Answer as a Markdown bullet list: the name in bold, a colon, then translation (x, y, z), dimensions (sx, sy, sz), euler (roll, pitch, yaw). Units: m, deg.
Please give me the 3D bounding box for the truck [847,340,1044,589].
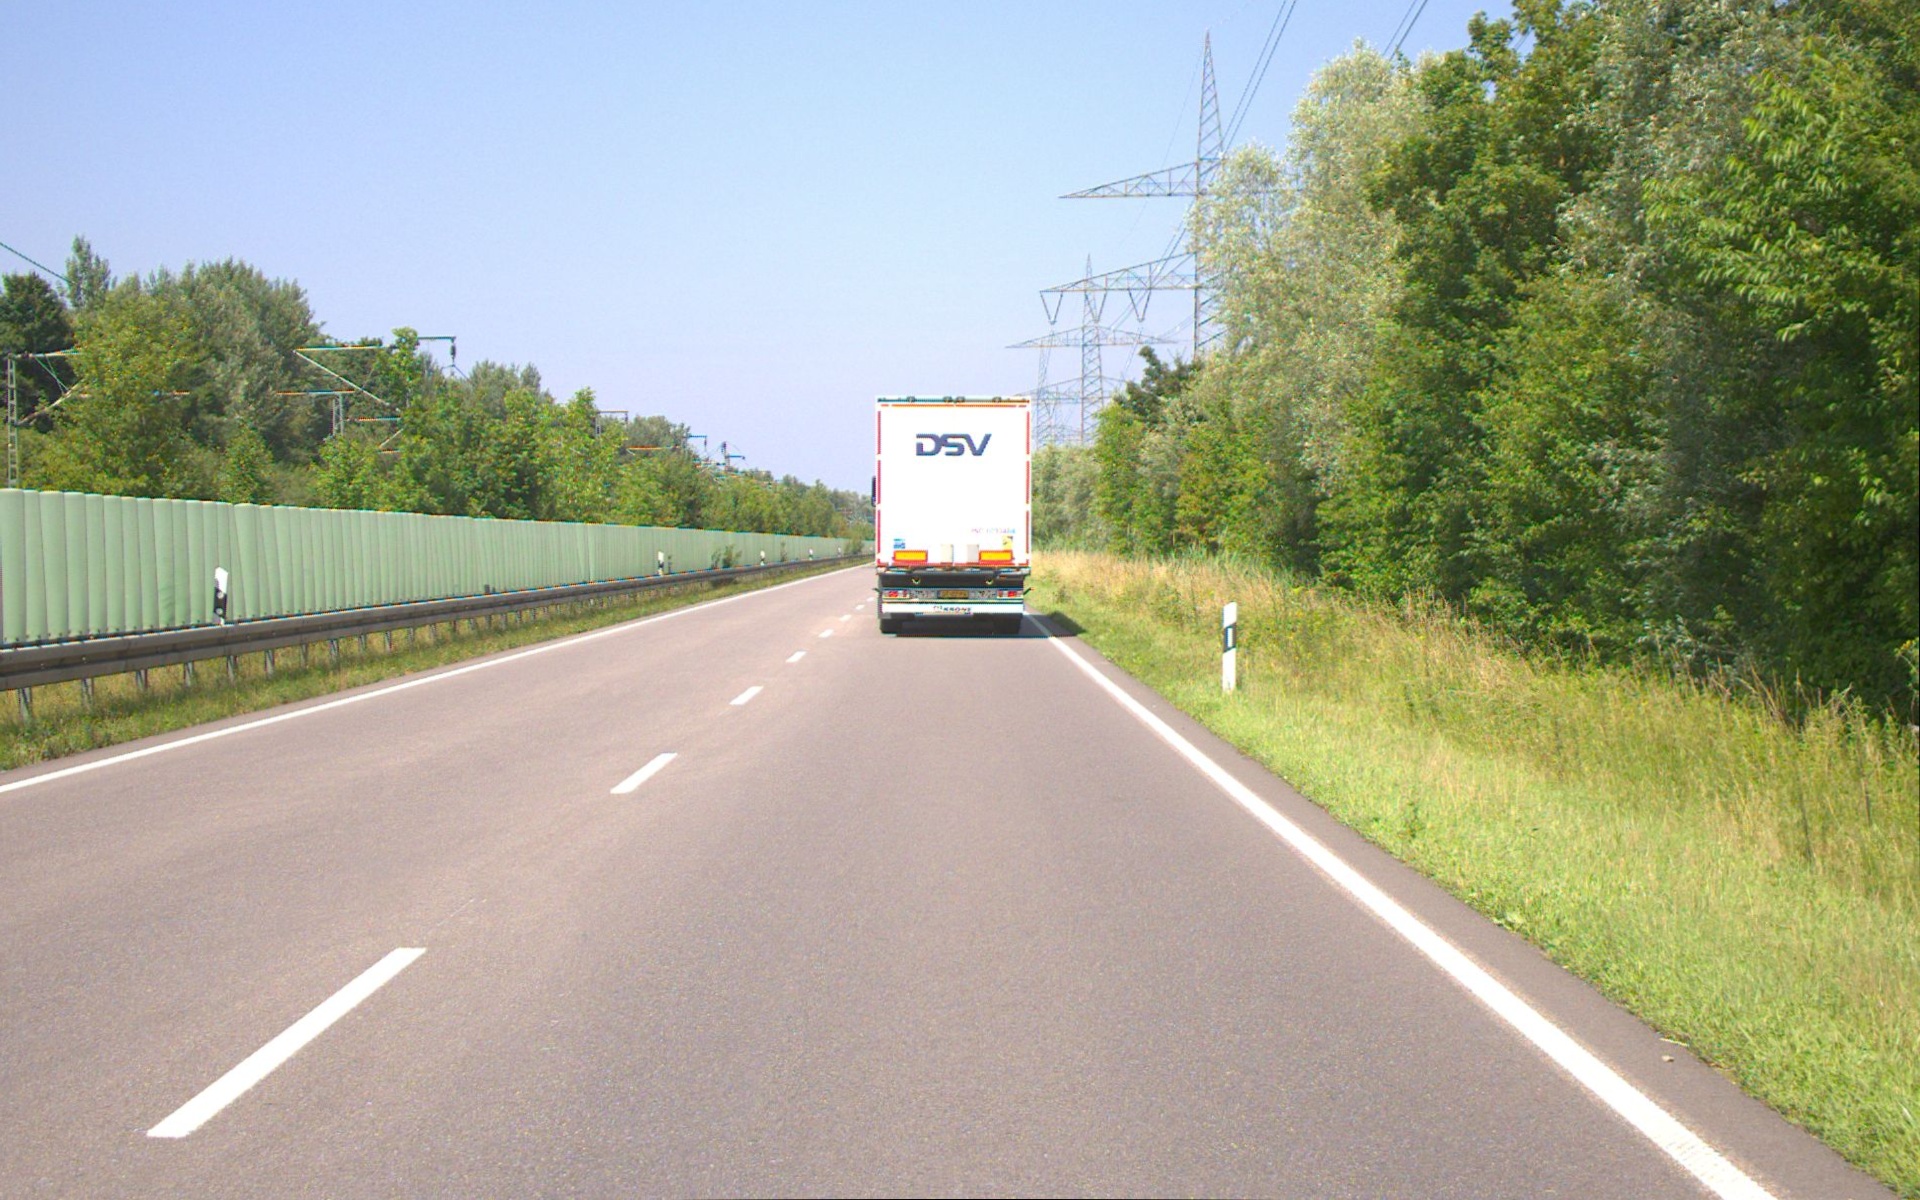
- **truck**: translation (-0.318, -2.319, 61.915), dimensions (3.192, 4.029, 12.008), euler (0, 1, -1)
